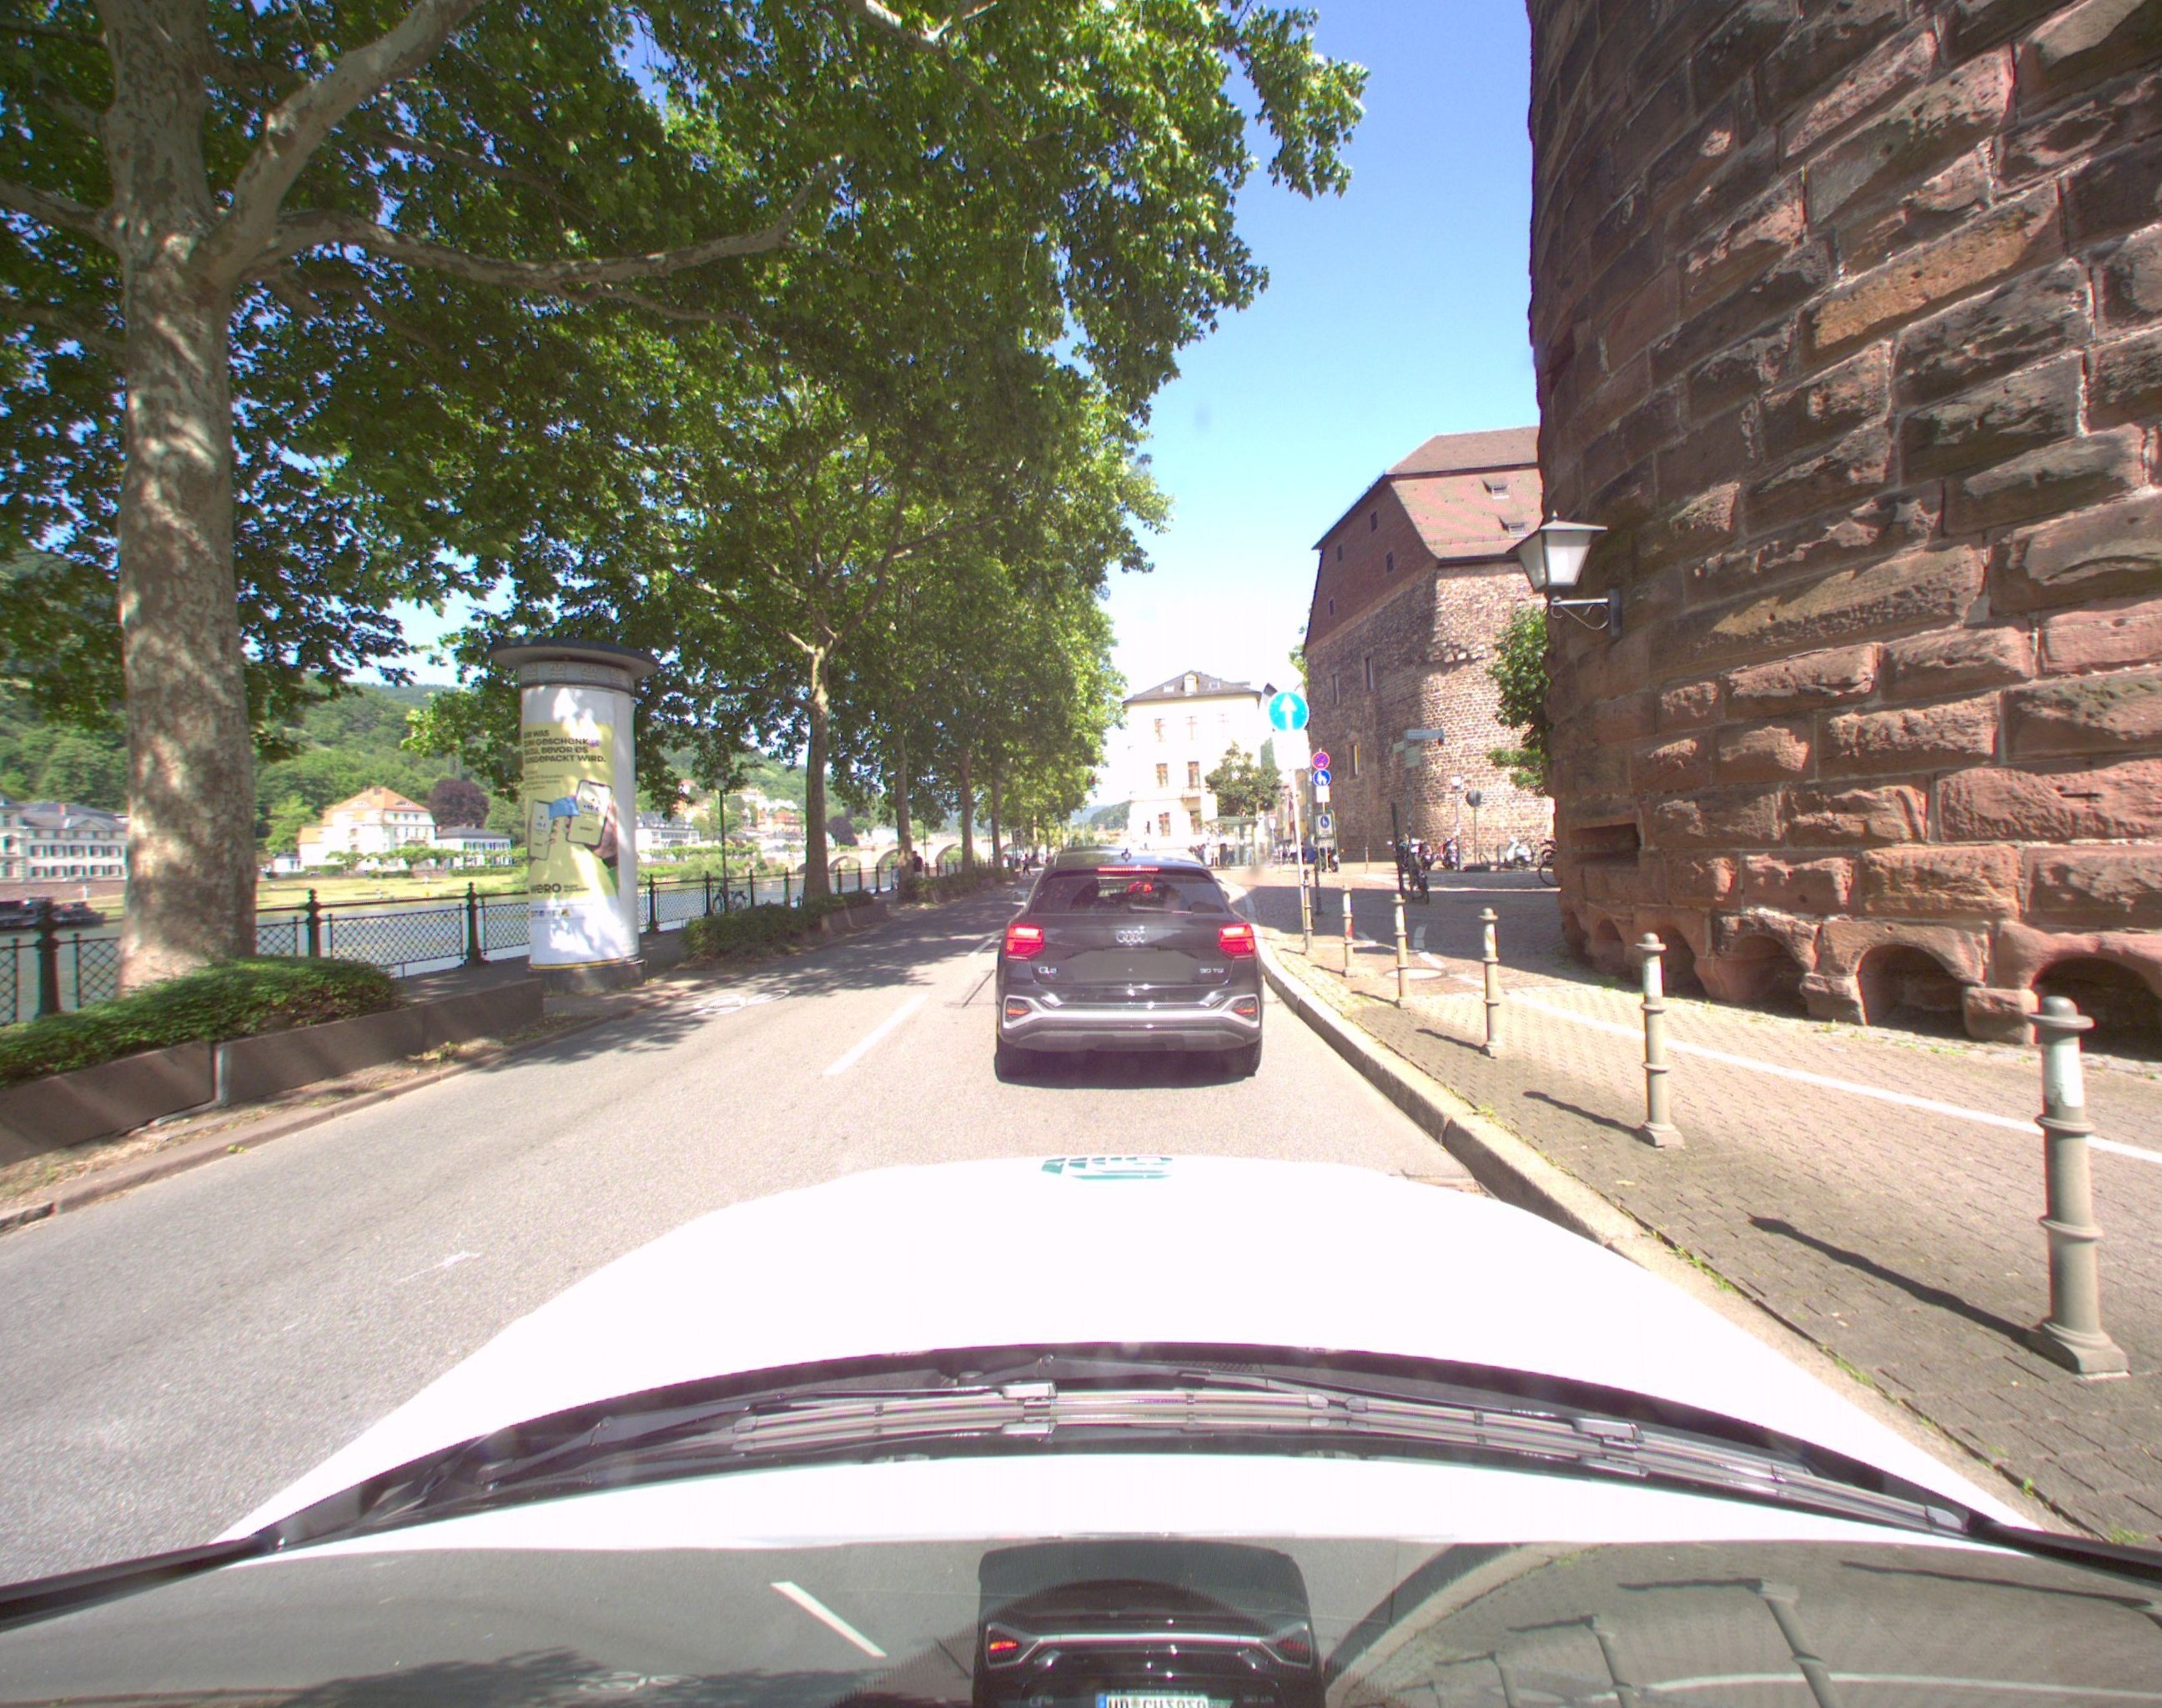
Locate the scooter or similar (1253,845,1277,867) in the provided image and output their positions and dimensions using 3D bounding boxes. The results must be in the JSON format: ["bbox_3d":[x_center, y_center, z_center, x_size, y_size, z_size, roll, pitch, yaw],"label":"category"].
[{"bbox_3d":[8.870,0.102,39.313,1.085,1.066,0.323,0,-1,-1],"label":"scooter or similar"}]

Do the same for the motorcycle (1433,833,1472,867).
[{"bbox_3d":[13.705,-0.132,30.091,0.544,1.235,2.031,-1,-1,2],"label":"motorcycle"}]

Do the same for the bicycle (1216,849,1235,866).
[{"bbox_3d":[8.792,0.236,49.532,1.187,1.016,0.178,0,-1,-17],"label":"bicycle"}]

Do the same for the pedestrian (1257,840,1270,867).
[{"bbox_3d":[9.545,-0.012,42.558,0.555,1.385,0.588,-1,-1,4],"label":"pedestrian"}]

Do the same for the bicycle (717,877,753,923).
[{"bbox_3d":[-8.887,1.167,20.946,0.358,1.091,1.296,1,0,1],"label":"bicycle"}]

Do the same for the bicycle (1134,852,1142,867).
[{"bbox_3d":[4.351,0.430,62.447,0.436,1.086,1.675,0,-1,-2],"label":"bicycle"}]

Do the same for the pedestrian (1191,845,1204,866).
[{"bbox_3d":[6.877,0.094,48.134,0.662,1.211,0.640,0,-1,-5],"label":"pedestrian"}]

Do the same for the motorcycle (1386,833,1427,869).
[{"bbox_3d":[11.914,-0.105,29.872,0.653,1.266,2.201,-2,-1,2],"label":"motorcycle"}]

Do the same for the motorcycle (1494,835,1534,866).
[{"bbox_3d":[15.471,-0.105,29.158,0.505,1.073,1.841,-1,-1,2],"label":"motorcycle"}]

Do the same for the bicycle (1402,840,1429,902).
[{"bbox_3d":[6.862,0.320,16.748,0.192,1.203,1.775,-2,1,13],"label":"bicycle"}]

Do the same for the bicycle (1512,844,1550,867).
[{"bbox_3d":[16.629,0.034,30.127,0.352,0.820,1.926,0,1,1],"label":"bicycle"}]

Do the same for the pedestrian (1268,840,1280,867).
[{"bbox_3d":[17.506,-0.044,73.885,0.876,2.358,0.745,0,-1,1],"label":"pedestrian"}]

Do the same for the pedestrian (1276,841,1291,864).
[{"bbox_3d":[12.684,-0.091,51.087,0.637,1.444,0.797,-4,0,-5],"label":"pedestrian"}]

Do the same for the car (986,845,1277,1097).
[{"bbox_3d":[0.362,0.689,6.718,1.736,1.509,3.649,0,0,2],"label":"car"}]

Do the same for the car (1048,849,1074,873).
[{"bbox_3d":[-1.493,0.530,62.975,1.667,1.660,4.224,-5,0,1],"label":"car"}]

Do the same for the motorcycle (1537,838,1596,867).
[{"bbox_3d":[18.253,-0.050,30.671,1.854,1.054,0.481,-1,-1,9],"label":"motorcycle"}]

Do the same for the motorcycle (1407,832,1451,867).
[{"bbox_3d":[12.808,-0.145,30.065,0.672,1.235,2.313,-1,-1,2],"label":"motorcycle"}]

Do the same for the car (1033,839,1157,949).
[{"bbox_3d":[0.259,0.581,13.562,1.786,1.595,3.400,0,0,2],"label":"car"}]

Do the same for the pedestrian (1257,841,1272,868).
[{"bbox_3d":[13.987,0.063,62.093,0.939,2.014,0.805,0,-1,-7],"label":"pedestrian"}]

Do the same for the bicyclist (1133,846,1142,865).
[{"bbox_3d":[4.336,0.119,62.455,0.604,1.450,0.590,0,-1,-3],"label":"bicyclist"}]

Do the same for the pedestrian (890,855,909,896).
[{"bbox_3d":[-7.621,0.912,34.220,0.599,1.685,0.583,-3,0,0],"label":"pedestrian"}]

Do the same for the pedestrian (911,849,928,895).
[{"bbox_3d":[-6.726,0.764,34.027,0.532,1.887,0.437,-3,0,1],"label":"pedestrian"}]

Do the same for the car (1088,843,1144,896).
[{"bbox_3d":[1.201,0.491,28.267,1.788,1.682,4.002,-1,0,2],"label":"car"}]

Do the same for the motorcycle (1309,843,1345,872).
[{"bbox_3d":[9.056,0.113,30.046,0.564,1.012,2.490,-3,0,1],"label":"motorcycle"}]

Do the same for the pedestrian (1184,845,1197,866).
[{"bbox_3d":[6.567,0.077,48.882,0.662,1.231,0.640,0,-1,-5],"label":"pedestrian"}]

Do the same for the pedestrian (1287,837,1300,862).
[{"bbox_3d":[14.352,-0.286,55.013,0.605,1.619,0.711,-4,-1,1],"label":"pedestrian"}]

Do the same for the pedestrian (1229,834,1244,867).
[{"bbox_3d":[8.007,-0.178,41.829,0.649,1.662,0.813,-3,0,14],"label":"pedestrian"}]

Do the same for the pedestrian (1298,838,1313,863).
[{"bbox_3d":[15.128,-0.260,54.831,0.688,1.612,0.892,-4,0,1],"label":"pedestrian"}]

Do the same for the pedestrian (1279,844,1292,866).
[{"bbox_3d":[18.538,0.108,73.897,0.941,2.014,0.808,-1,-1,2],"label":"pedestrian"}]

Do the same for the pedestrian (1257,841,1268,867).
[{"bbox_3d":[16.503,-0.033,74.094,0.876,2.358,0.745,0,-1,1],"label":"pedestrian"}]

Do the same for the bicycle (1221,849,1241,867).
[{"bbox_3d":[9.020,0.235,48.898,1.205,1.035,0.178,0,-1,-17],"label":"bicycle"}]

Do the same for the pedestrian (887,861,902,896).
[{"bbox_3d":[-7.517,0.986,32.786,0.476,1.362,0.418,0,0,5],"label":"pedestrian"}]

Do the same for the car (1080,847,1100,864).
[{"bbox_3d":[1.022,0.217,90.732,1.985,1.806,4.003,-1,-1,3],"label":"car"}]

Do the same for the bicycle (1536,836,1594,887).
[{"bbox_3d":[11.551,0.163,19.488,0.444,1.162,1.733,-2,0,5],"label":"bicycle"}]

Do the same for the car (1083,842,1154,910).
[{"bbox_3d":[0.977,0.526,21.679,1.704,1.609,3.656,-1,0,2],"label":"car"}]

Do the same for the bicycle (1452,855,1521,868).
[{"bbox_3d":[13.594,0.259,27.362,1.914,0.381,0.921,-2,-1,16],"label":"bicycle"}]
